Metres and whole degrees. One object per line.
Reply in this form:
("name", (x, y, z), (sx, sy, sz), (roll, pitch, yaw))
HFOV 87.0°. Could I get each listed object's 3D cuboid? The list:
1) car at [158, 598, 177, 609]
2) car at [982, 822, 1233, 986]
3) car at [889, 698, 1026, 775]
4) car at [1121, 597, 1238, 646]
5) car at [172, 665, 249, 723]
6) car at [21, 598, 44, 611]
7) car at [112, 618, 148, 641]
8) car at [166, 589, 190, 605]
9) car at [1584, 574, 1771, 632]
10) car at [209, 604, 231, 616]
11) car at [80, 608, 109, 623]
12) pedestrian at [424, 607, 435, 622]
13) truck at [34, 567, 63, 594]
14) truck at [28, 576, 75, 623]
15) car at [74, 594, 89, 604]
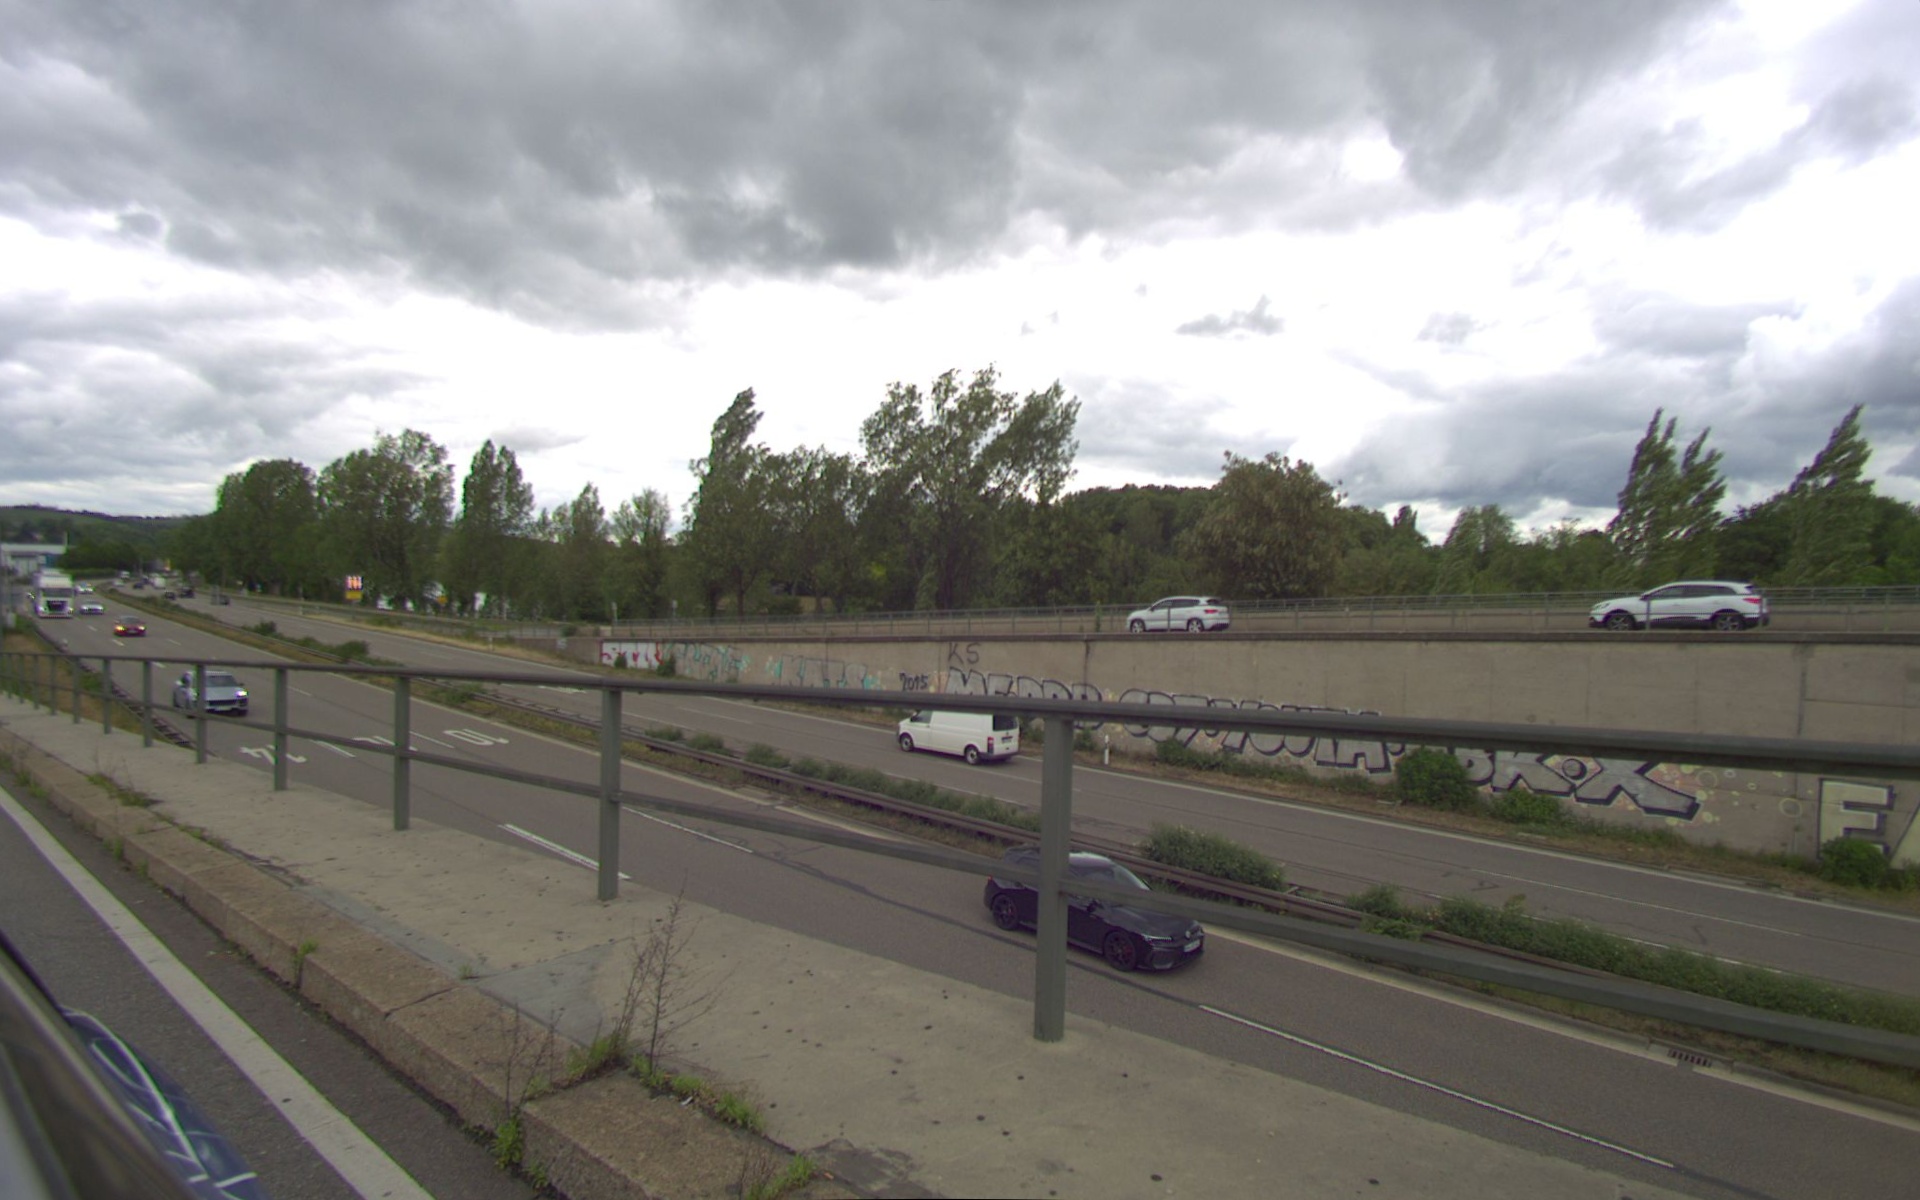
("car", (-123.822, 0.491, 158.126), (3.859, 1.512, 1.645), (3, 0, 43))
("car", (2.547, 5.299, 18.196), (4.221, 1.581, 1.730), (2, 1, 43))
("car", (-0.162, 5.007, 37.941), (5.177, 2.082, 1.972), (2, 1, 42))
("car", (8.904, 0.869, 41.152), (4.211, 1.884, 1.973), (-2, -1, 41))
("car", (-30.650, 3.782, 41.347), (4.280, 1.813, 1.820), (2, 1, 43))
("car", (-120.094, 0.584, 131.065), (4.166, 1.619, 1.834), (2, 1, 43))
("car", (-65.058, 2.288, 79.267), (4.167, 1.451, 1.732), (4, 3, 44))
("car", (-132.237, -0.543, 171.040), (6.114, 2.566, 2.220), (2, 1, 42))
("car", (21.383, 0.125, 30.272), (4.346, 1.588, 1.813), (-2, -1, 43))
("car", (-104.774, 1.413, 143.267), (4.111, 1.386, 1.692), (3, 0, 43))
("car", (-92.012, 1.643, 107.576), (4.279, 1.429, 1.894), (3, 2, 44))
("pedestrian", (-63.057, 1.754, 120.343), (1.078, 1.718, 0.820), (2, 2, 43))
("truck", (-163.965, -3.507, 182.000), (11.130, 4.559, 3.136), (2, 1, 45))
("truck", (-88.246, -0.104, 98.291), (6.698, 4.283, 2.721), (2, 0, 43))
("car", (-154.910, -0.226, 178.483), (1.832, 1.619, 4.170), (3, -1, -44))
